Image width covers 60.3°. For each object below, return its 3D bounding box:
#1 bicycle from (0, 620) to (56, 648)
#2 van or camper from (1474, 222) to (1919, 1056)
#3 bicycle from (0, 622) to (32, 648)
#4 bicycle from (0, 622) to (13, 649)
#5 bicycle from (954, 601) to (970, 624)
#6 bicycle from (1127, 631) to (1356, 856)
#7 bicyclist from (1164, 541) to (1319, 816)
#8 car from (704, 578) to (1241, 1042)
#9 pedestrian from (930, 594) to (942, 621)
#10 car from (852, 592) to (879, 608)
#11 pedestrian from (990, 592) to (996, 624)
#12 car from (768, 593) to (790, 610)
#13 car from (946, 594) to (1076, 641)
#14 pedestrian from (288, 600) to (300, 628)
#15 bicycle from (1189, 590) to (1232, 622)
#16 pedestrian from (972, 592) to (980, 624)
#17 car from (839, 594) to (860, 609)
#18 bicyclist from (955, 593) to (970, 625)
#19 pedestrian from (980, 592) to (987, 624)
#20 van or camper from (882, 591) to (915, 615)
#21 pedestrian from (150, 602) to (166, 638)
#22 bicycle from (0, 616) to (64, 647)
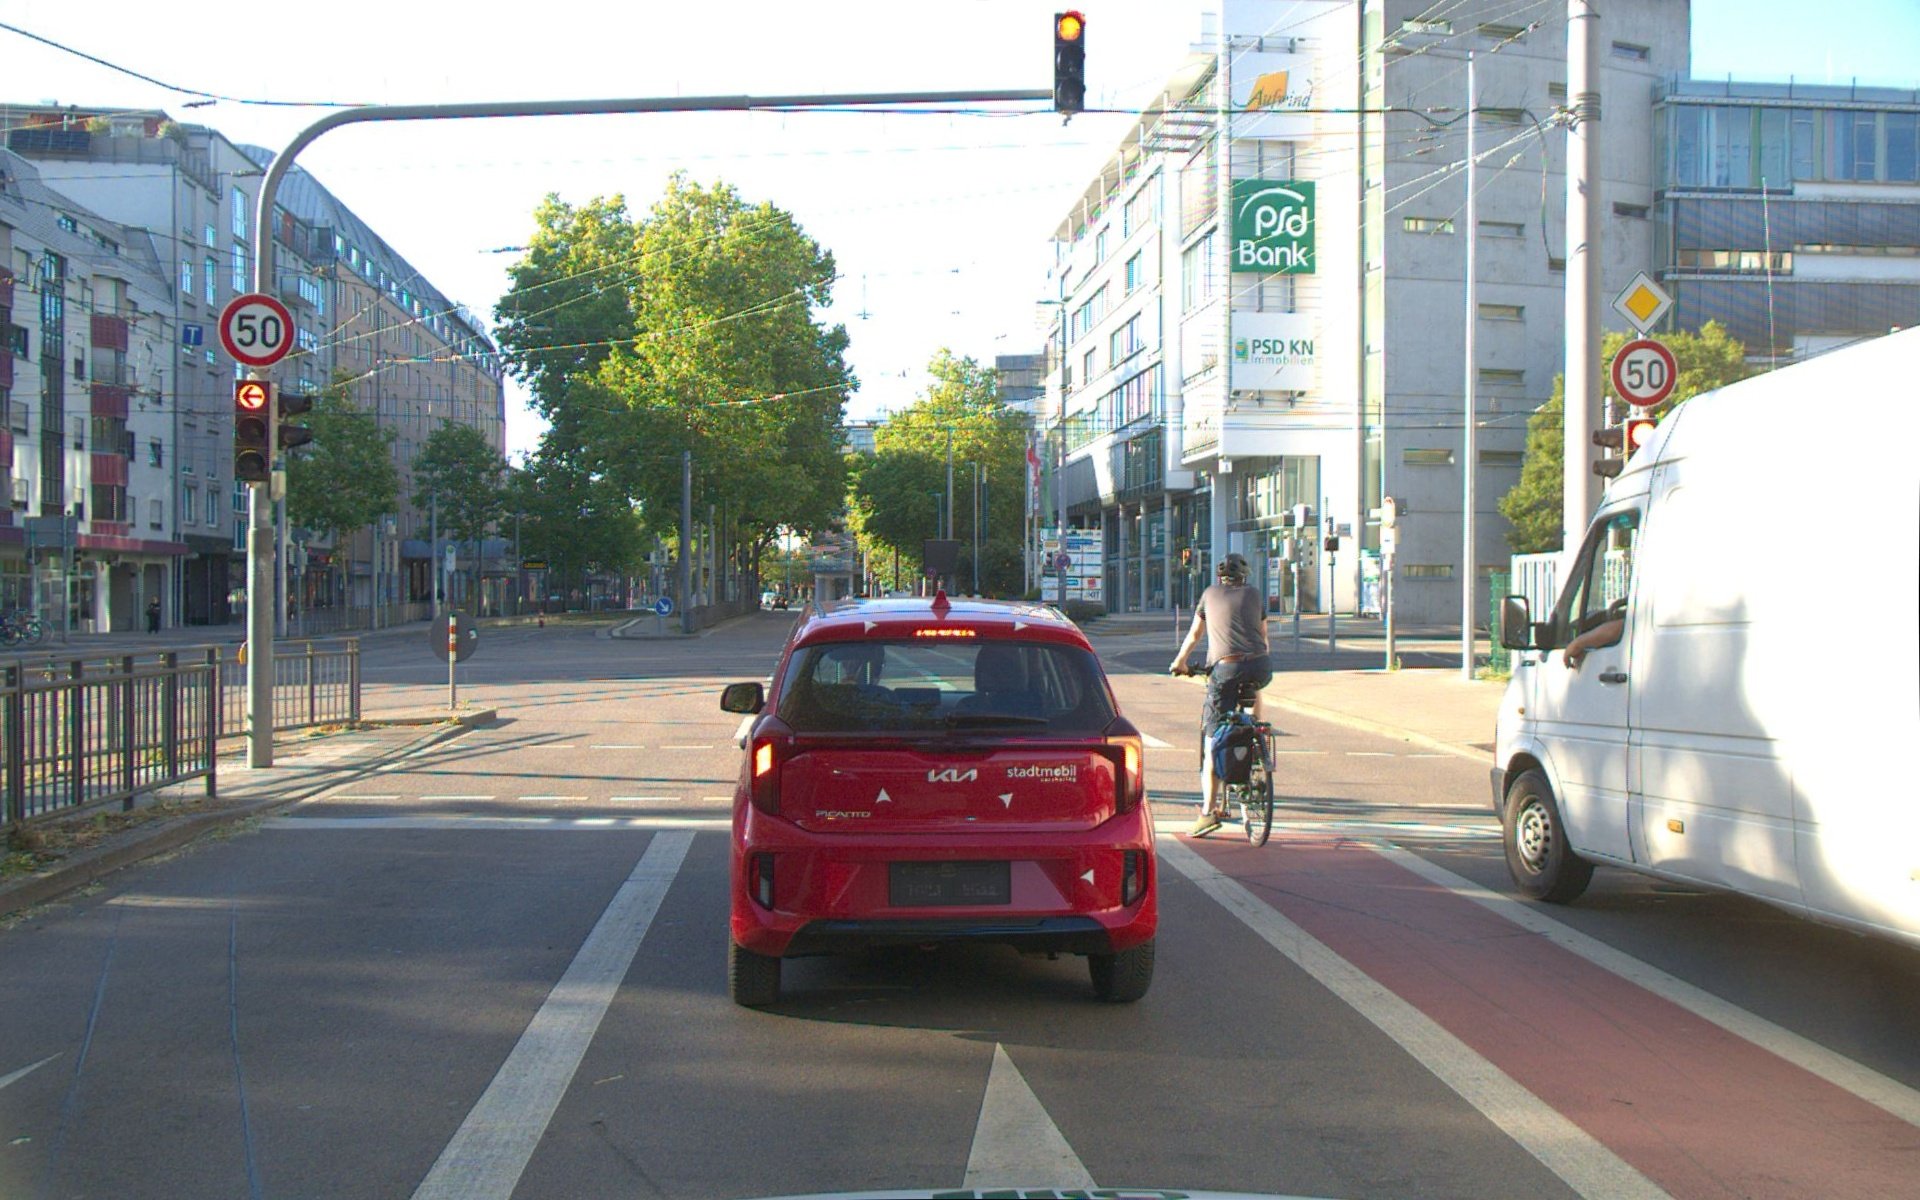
[{"bbox_3d":[-29.768,1.069,52.191,2.129,0.838,0.527,-1,0,-9],"label":"bicycle"},{"bbox_3d":[4.269,0.151,6.123,2.225,2.781,6.340,2,0,-5],"label":"van or camper"},{"bbox_3d":[-29.768,1.085,50.827,2.129,0.801,0.491,-1,0,-9],"label":"bicycle"},{"bbox_3d":[-29.941,1.083,50.044,2.129,0.801,0.639,-1,0,-9],"label":"bicycle"},{"bbox_3d":[0.125,0.648,86.445,0.776,1.182,2.500,0,0,2],"label":"bicycle"},{"bbox_3d":[1.769,0.869,10.809,0.730,1.245,2.150,1,1,-11],"label":"bicycle"},{"bbox_3d":[1.801,0.489,10.671,0.730,1.698,0.742,1,0,-12],"label":"bicyclist"},{"bbox_3d":[-0.117,0.679,7.391,1.804,1.515,3.712,0,0,-6],"label":"car"},{"bbox_3d":[-1.555,0.484,107.794,0.728,1.746,0.747,0,0,-4],"label":"pedestrian"},{"bbox_3d":[-9.521,-0.016,166.820,2.431,1.555,4.424,-1,0,-7],"label":"car"},{"bbox_3d":[1.644,0.382,82.427,0.288,1.589,0.314,-1,0,-4],"label":"pedestrian"},{"bbox_3d":[-19.212,0.166,175.731,2.020,1.682,3.483,-1,0,-11],"label":"car"},{"bbox_3d":[1.798,0.604,58.068,4.177,1.595,1.847,-1,0,27],"label":"car"},{"bbox_3d":[-35.634,0.727,88.496,0.501,1.484,0.527,-1,0,-8],"label":"pedestrian"},{"bbox_3d":[11.494,0.279,75.884,1.898,1.468,0.574,0,0,-7],"label":"bicycle"},{"bbox_3d":[0.808,0.377,82.237,0.289,1.589,0.301,-1,0,-15],"label":"pedestrian"},{"bbox_3d":[-12.081,0.129,180.688,1.850,1.555,4.423,-1,0,-9],"label":"car"},{"bbox_3d":[0.117,0.452,86.384,0.769,1.663,0.639,0,0,2],"label":"bicyclist"},{"bbox_3d":[1.181,0.381,82.331,0.289,1.589,0.355,-1,0,-10],"label":"pedestrian"},{"bbox_3d":[-4.965,0.222,132.708,2.105,1.781,4.423,-1,0,-9],"label":"van or camper"},{"bbox_3d":[-33.165,0.824,68.407,0.502,1.484,0.526,-1,0,-15],"label":"pedestrian"},{"bbox_3d":[-29.876,0.998,52.826,2.129,0.967,0.491,-1,0,-9],"label":"bicycle"}]
